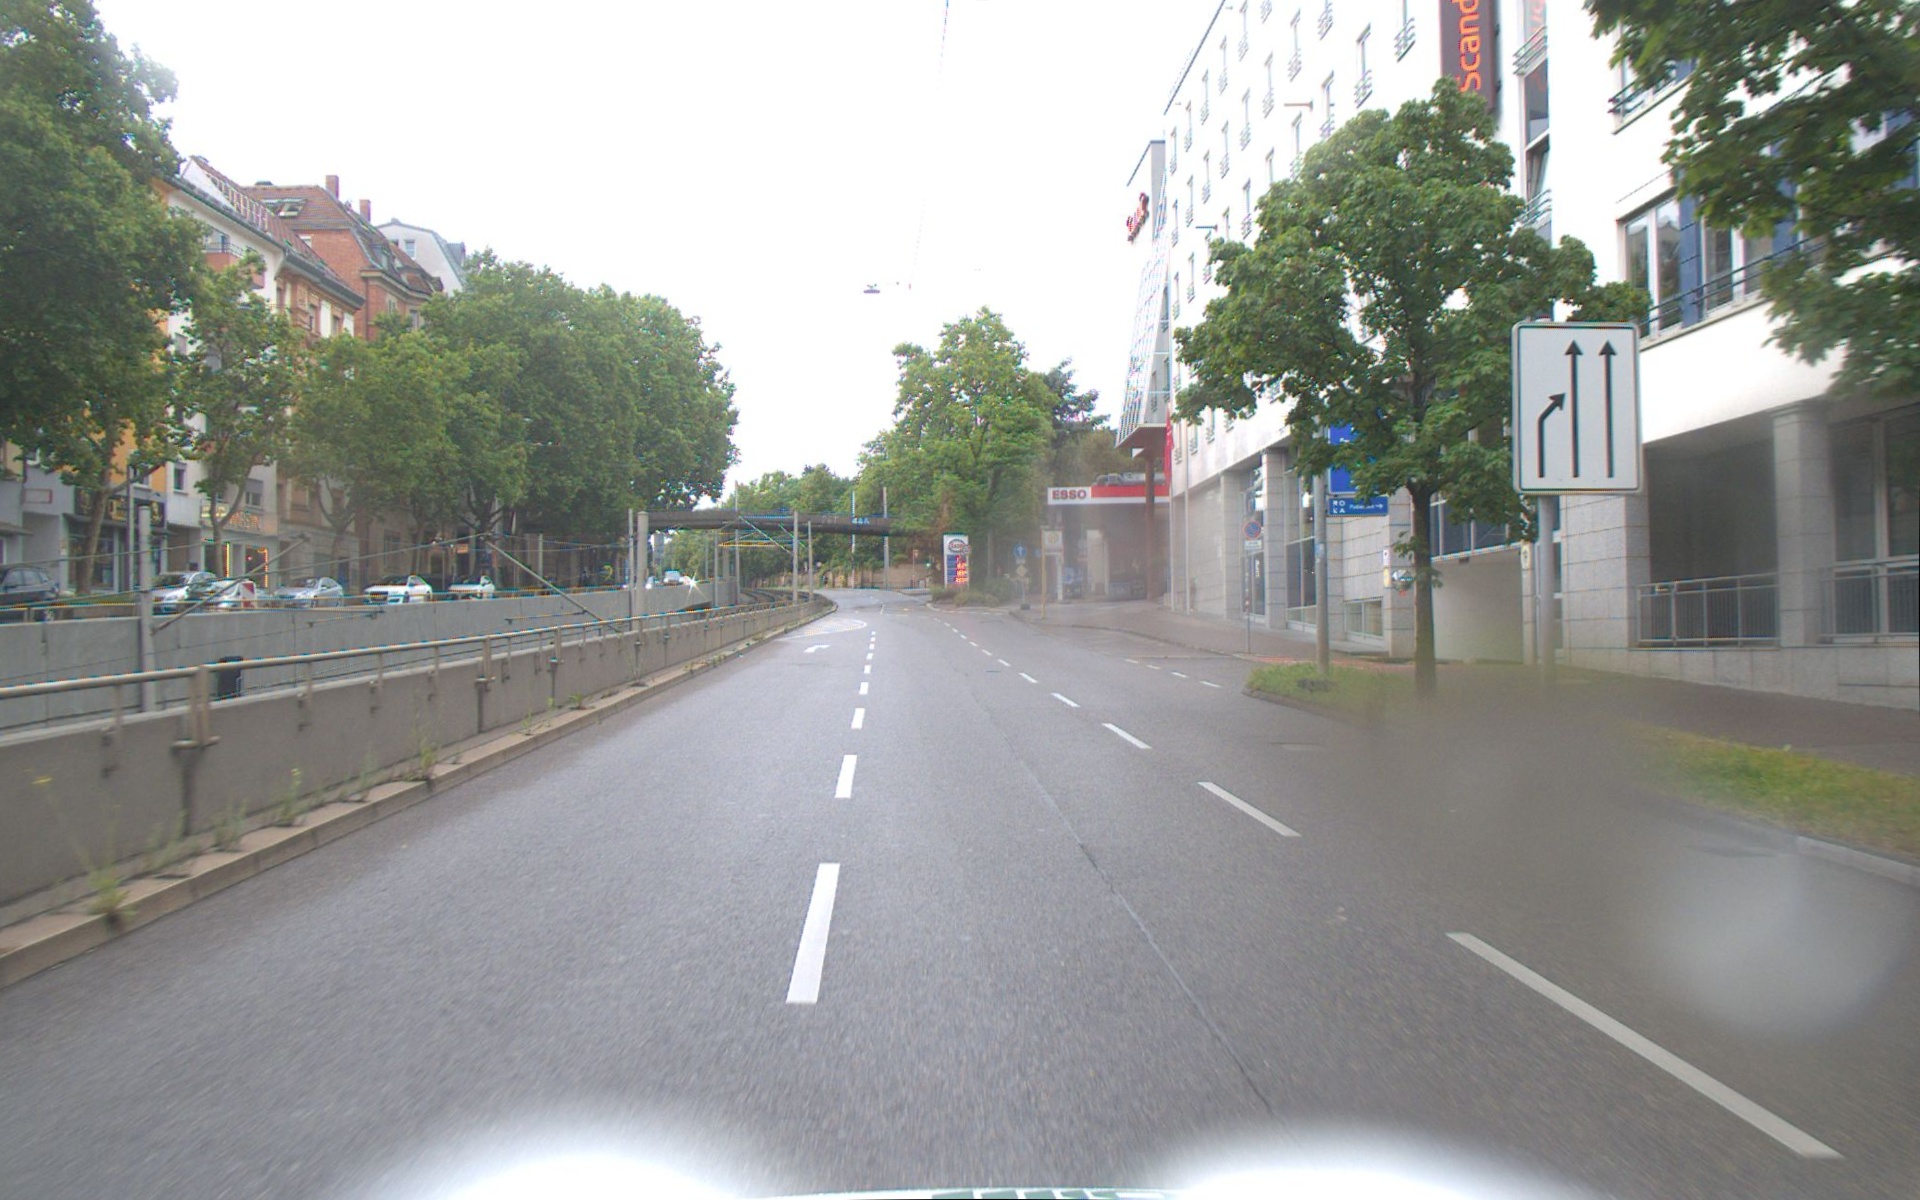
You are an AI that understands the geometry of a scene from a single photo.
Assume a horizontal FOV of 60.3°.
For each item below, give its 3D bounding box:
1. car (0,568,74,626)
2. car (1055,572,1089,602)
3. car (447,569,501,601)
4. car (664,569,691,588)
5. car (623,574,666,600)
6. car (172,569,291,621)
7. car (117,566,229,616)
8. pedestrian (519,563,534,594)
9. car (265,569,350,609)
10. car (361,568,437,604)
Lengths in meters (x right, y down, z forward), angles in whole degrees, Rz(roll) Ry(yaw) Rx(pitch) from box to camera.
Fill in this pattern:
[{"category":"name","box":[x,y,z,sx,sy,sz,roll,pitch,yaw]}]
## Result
[{"category":"car","box":[-26.358,-0.105,45.262,1.758,1.536,4.671,1,1,-1]},{"category":"car","box":[6.586,-0.750,97.203,1.735,1.652,3.869,-3,0,7]},{"category":"car","box":[-26.103,-0.805,88.886,1.758,1.639,4.111,1,1,-2]},{"category":"car","box":[-28.869,-2.176,169.290,1.916,1.885,4.968,1,1,0]},{"category":"car","box":[-19.828,-0.815,104.107,1.986,1.536,4.881,1,1,-2]},{"category":"car","box":[-22.541,-0.175,51.333,1.808,1.536,4.017,1,1,1]},{"category":"car","box":[-26.592,-0.318,56.029,1.757,1.598,4.207,1,1,0]},{"category":"pedestrian","box":[-29.147,-1.431,111.183,0.655,2.049,0.935,1,-1,1]},{"category":"car","box":[-26.283,-0.440,66.779,1.757,1.536,4.207,1,1,0]},{"category":"car","box":[-26.311,-0.666,77.756,1.888,1.629,5.198,1,1,-1]}]
